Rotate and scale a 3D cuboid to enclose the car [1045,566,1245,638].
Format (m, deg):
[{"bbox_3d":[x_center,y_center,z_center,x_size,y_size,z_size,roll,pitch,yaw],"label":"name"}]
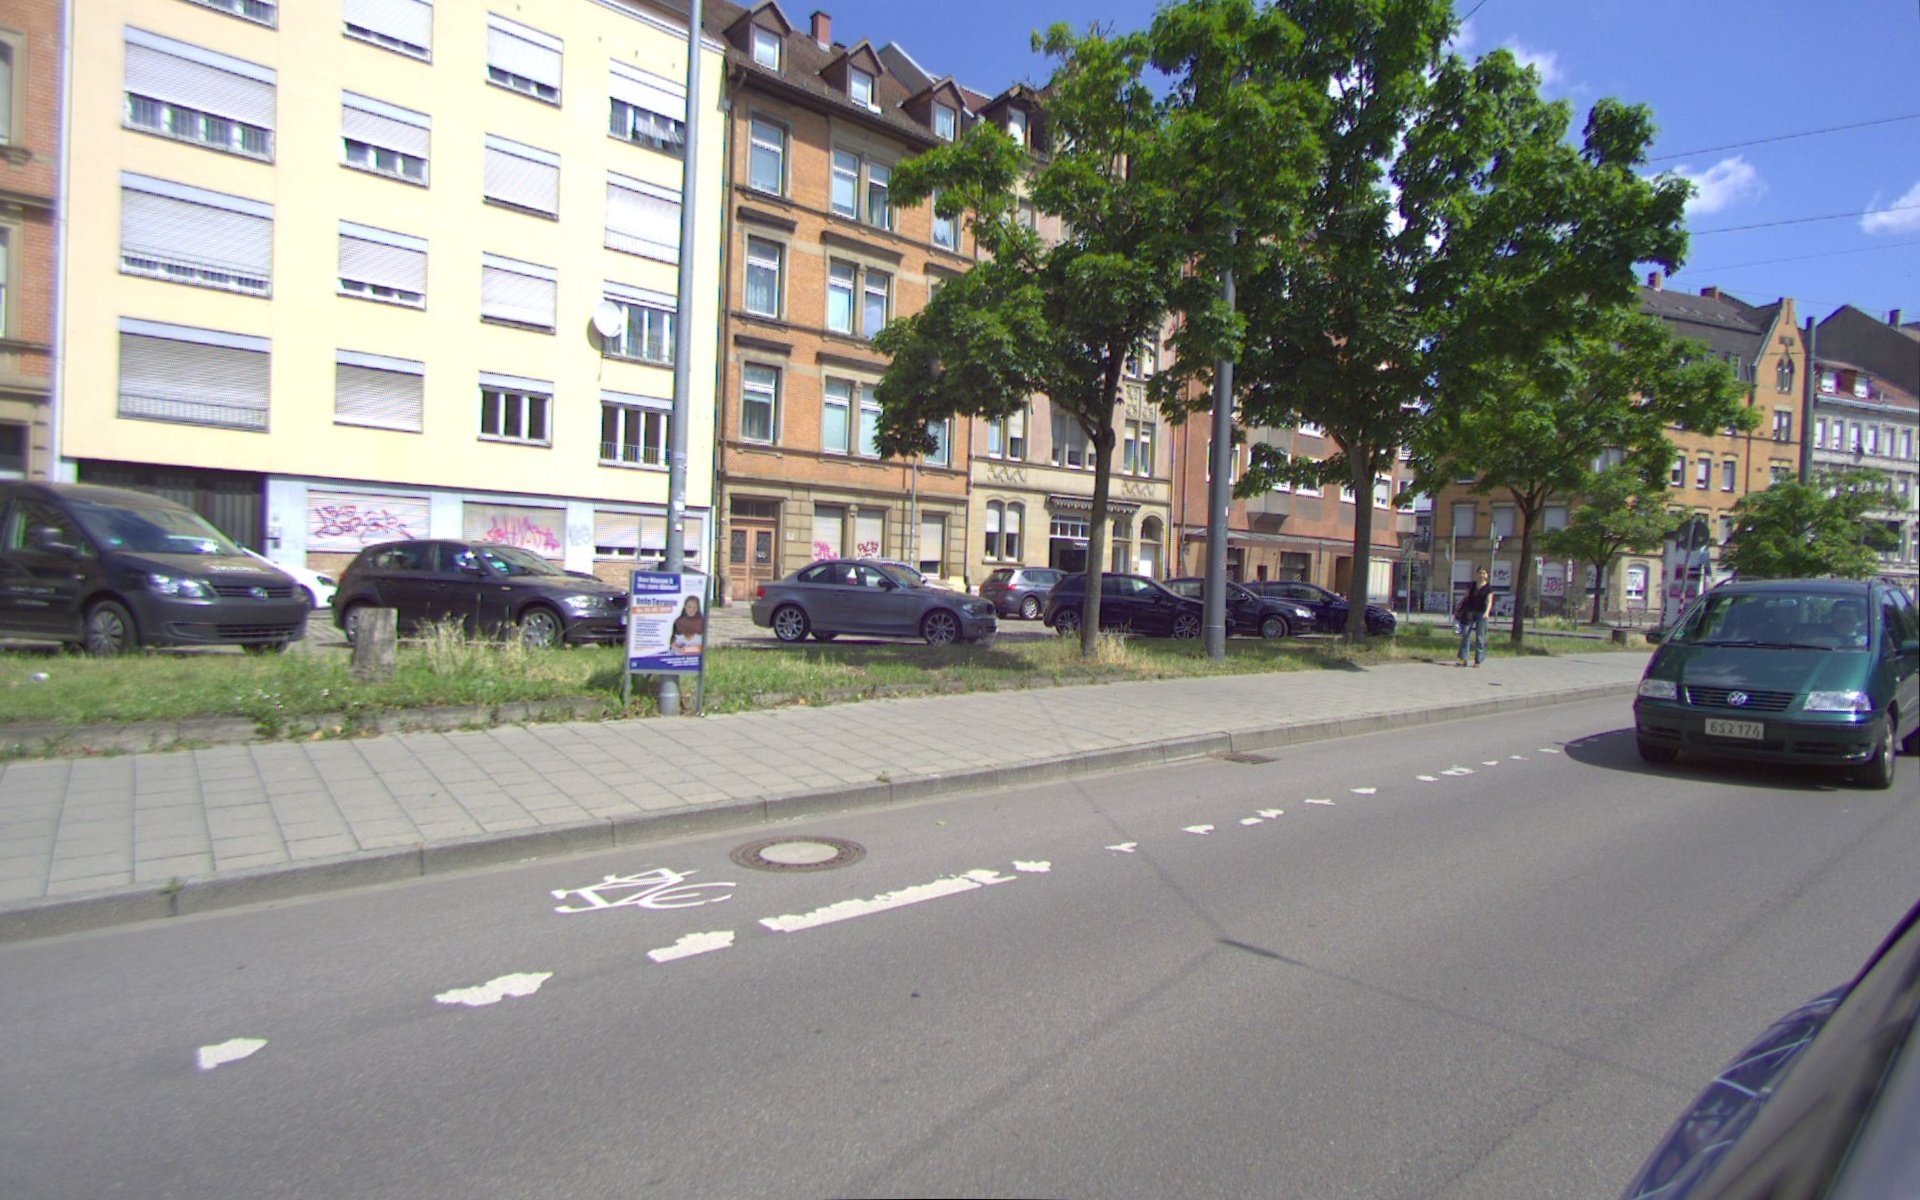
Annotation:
[{"bbox_3d":[4.039,0.013,21.991,3.955,1.397,1.946,2,1,23],"label":"car"}]

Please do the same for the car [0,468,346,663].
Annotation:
[{"bbox_3d":[-8.930,-0.376,10.583,4.303,1.763,1.844,1,1,15],"label":"car"}]

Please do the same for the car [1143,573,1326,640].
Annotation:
[{"bbox_3d":[6.411,0.106,23.703,3.947,1.397,1.950,1,1,18],"label":"car"}]

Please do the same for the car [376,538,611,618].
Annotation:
[{"bbox_3d":[-9.728,-0.433,21.245,4.151,1.510,1.836,0,1,-39],"label":"car"}]

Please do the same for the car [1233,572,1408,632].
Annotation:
[{"bbox_3d":[9.178,0.024,25.788,3.964,1.371,1.942,2,1,29],"label":"car"}]

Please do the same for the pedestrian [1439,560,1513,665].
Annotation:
[{"bbox_3d":[8.908,0.205,17.470,1.026,1.724,0.702,0,4,-41],"label":"pedestrian"}]

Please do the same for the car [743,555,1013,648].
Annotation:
[{"bbox_3d":[-1.348,-0.017,17.216,4.208,1.397,1.844,1,1,15],"label":"car"}]

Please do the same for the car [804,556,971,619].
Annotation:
[{"bbox_3d":[-1.970,-0.344,28.283,4.415,1.635,1.836,0,1,-39],"label":"car"}]

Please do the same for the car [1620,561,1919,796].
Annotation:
[{"bbox_3d":[8.353,0.557,9.944,4.943,1.778,1.822,0,2,-41],"label":"car"}]

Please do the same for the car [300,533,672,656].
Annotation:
[{"bbox_3d":[-6.100,-0.118,13.153,4.208,1.397,1.844,1,1,15],"label":"car"}]

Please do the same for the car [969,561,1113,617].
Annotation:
[{"bbox_3d":[2.600,-0.345,32.007,4.411,1.635,1.838,0,1,-37],"label":"car"}]

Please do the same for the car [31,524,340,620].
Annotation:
[{"bbox_3d":[-13.514,-0.461,17.887,4.151,1.510,1.836,0,1,-39],"label":"car"}]
